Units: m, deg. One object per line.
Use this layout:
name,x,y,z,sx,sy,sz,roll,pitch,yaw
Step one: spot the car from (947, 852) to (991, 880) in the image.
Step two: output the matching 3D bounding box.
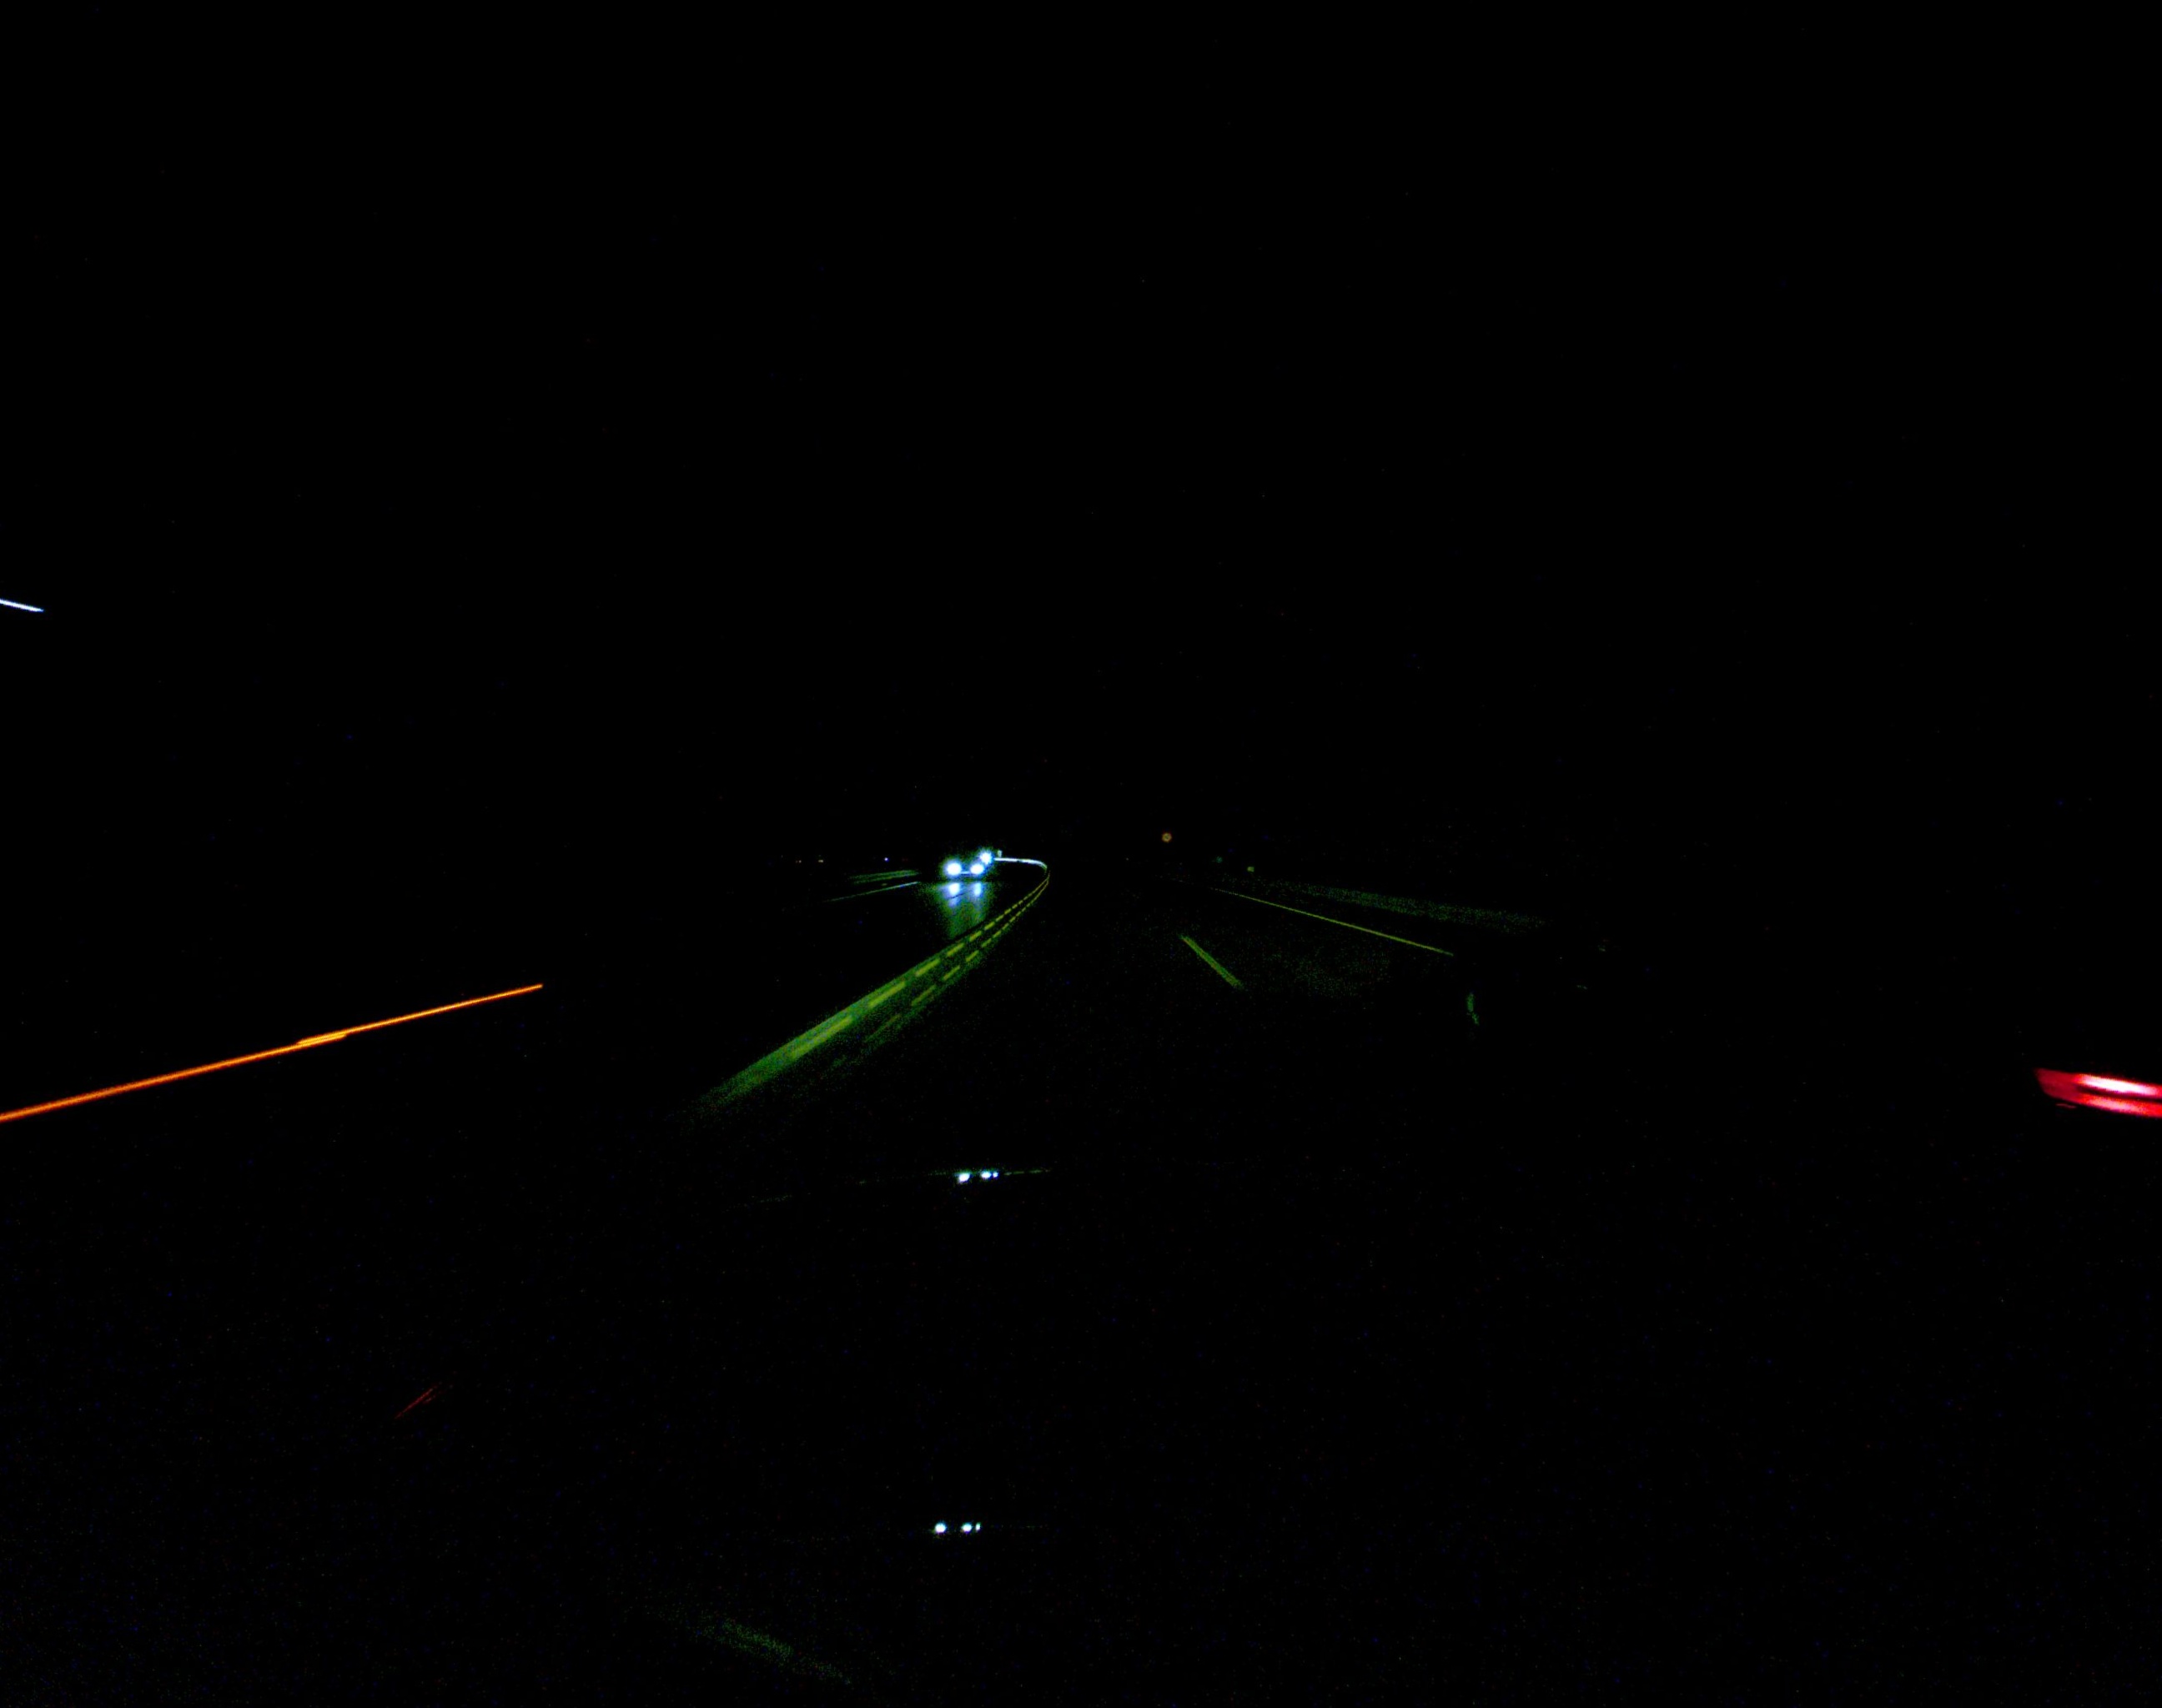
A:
car,-6.392,0.655,46.847,1.907,1.426,4.949,-1,0,-2

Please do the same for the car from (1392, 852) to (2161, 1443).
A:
car,3.598,0.740,4.531,1.803,1.426,4.873,-1,0,-1

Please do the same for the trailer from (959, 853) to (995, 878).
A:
trailer,-6.466,0.680,51.002,1.878,1.426,3.349,-1,0,-2

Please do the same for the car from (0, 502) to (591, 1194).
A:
car,-6.076,-0.010,4.163,2.477,3.105,7.387,-1,0,1
